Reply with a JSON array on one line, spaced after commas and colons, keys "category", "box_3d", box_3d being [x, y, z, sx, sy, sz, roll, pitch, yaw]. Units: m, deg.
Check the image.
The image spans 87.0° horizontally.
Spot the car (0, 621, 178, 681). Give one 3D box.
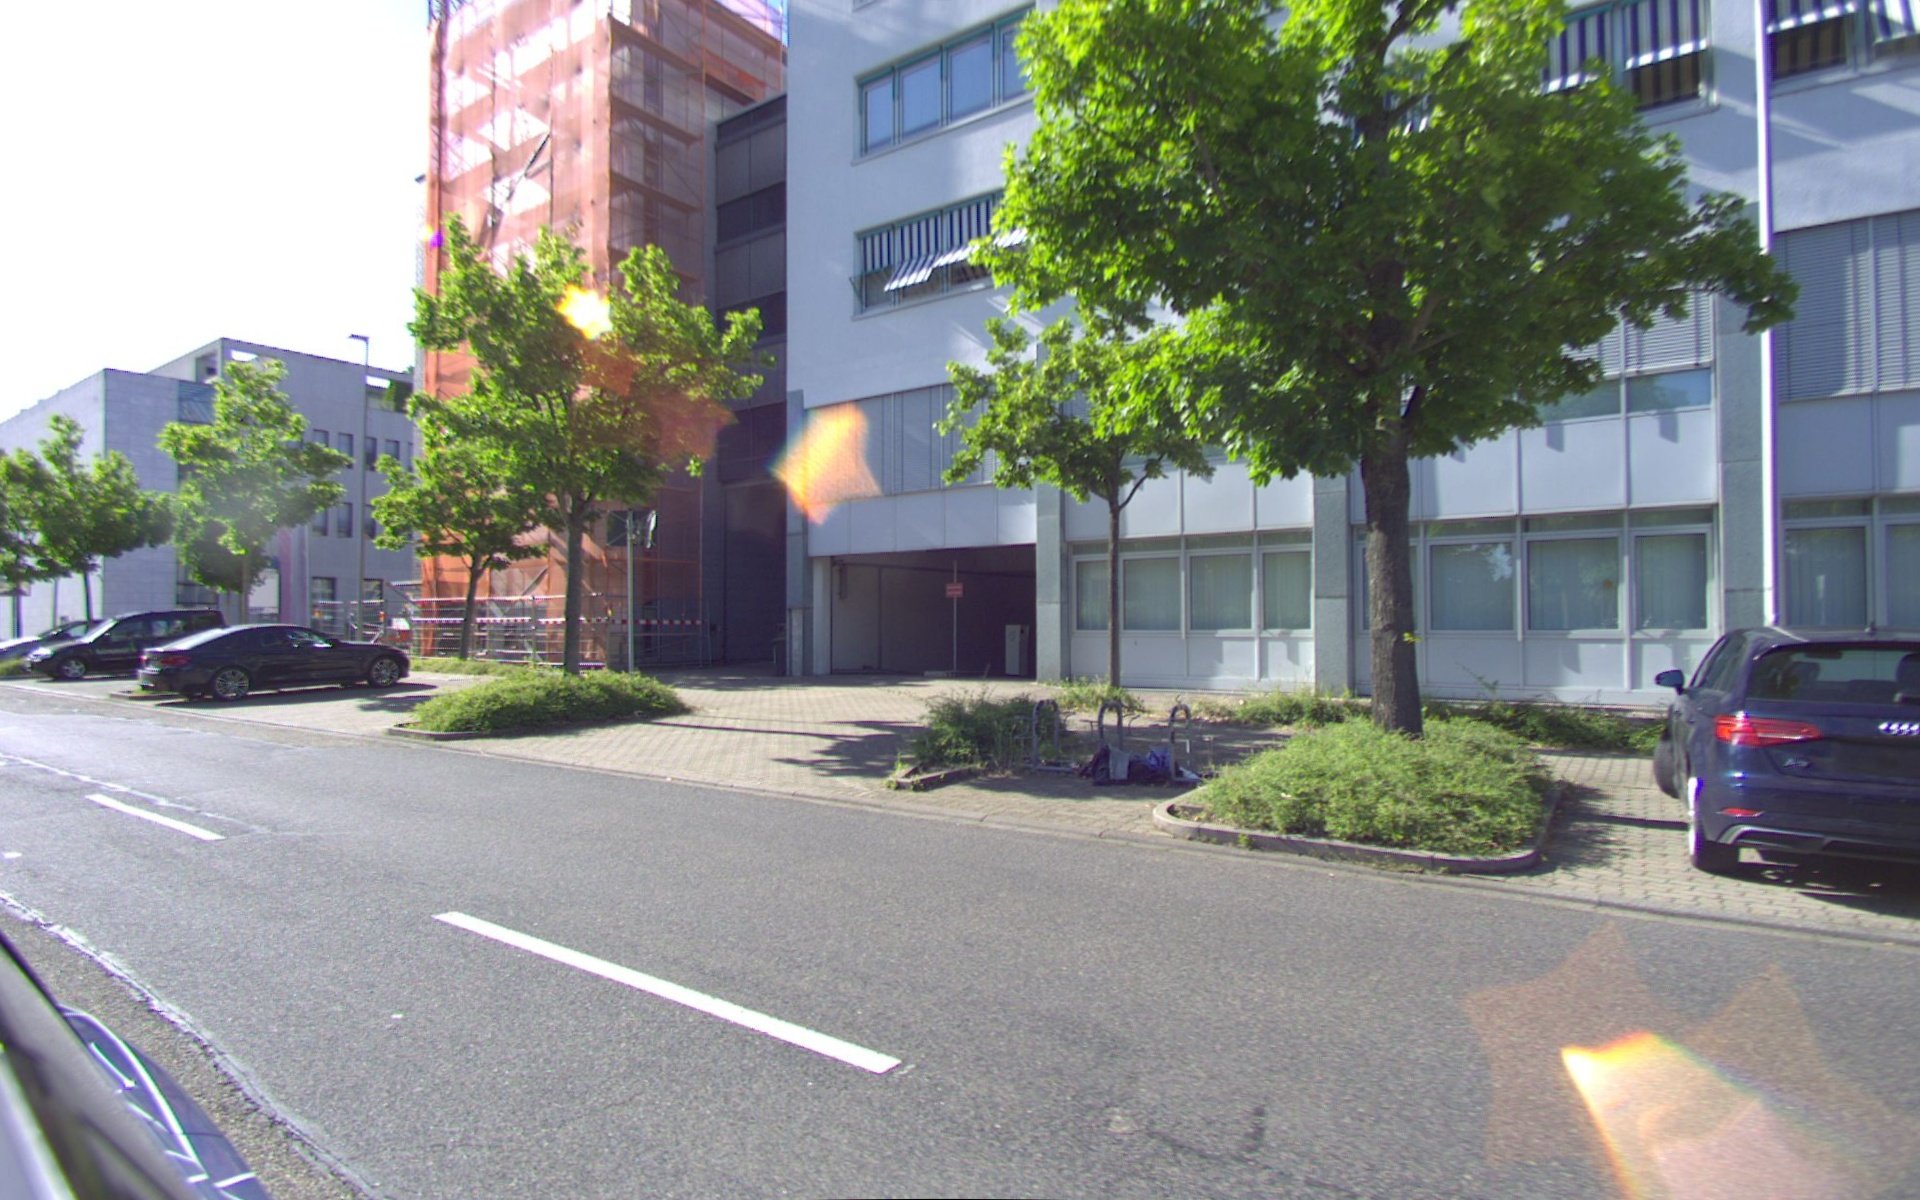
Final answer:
[{"category": "car", "box_3d": [-26.063, 1.459, 29.915, 1.691, 1.525, 4.345, -1, 0, 37]}]

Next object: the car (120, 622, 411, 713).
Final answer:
[{"category": "car", "box_3d": [-13.639, 1.249, 20.145, 1.971, 1.443, 4.352, -1, 0, 32]}]

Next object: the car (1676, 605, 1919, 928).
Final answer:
[{"category": "car", "box_3d": [5.895, 0.811, 6.606, 1.688, 1.443, 4.352, -1, 0, 32]}]

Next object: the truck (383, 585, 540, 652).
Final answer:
[{"category": "truck", "box_3d": [-21.901, 0.893, 44.693, 2.266, 2.752, 5.787, -2, -3, 37]}]

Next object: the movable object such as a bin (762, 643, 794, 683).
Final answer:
[{"category": "movable object such as a bin", "box_3d": [-4.360, 1.497, 24.232, 0.610, 0.934, 0.482, -1, -3, 39]}]

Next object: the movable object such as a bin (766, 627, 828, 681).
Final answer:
[{"category": "movable object such as a bin", "box_3d": [-4.059, 1.340, 25.238, 0.913, 1.290, 1.224, -1, -3, 39]}]

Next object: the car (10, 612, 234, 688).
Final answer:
[{"category": "car", "box_3d": [-22.455, 1.261, 27.284, 1.844, 1.758, 4.345, -1, 0, 37]}]
